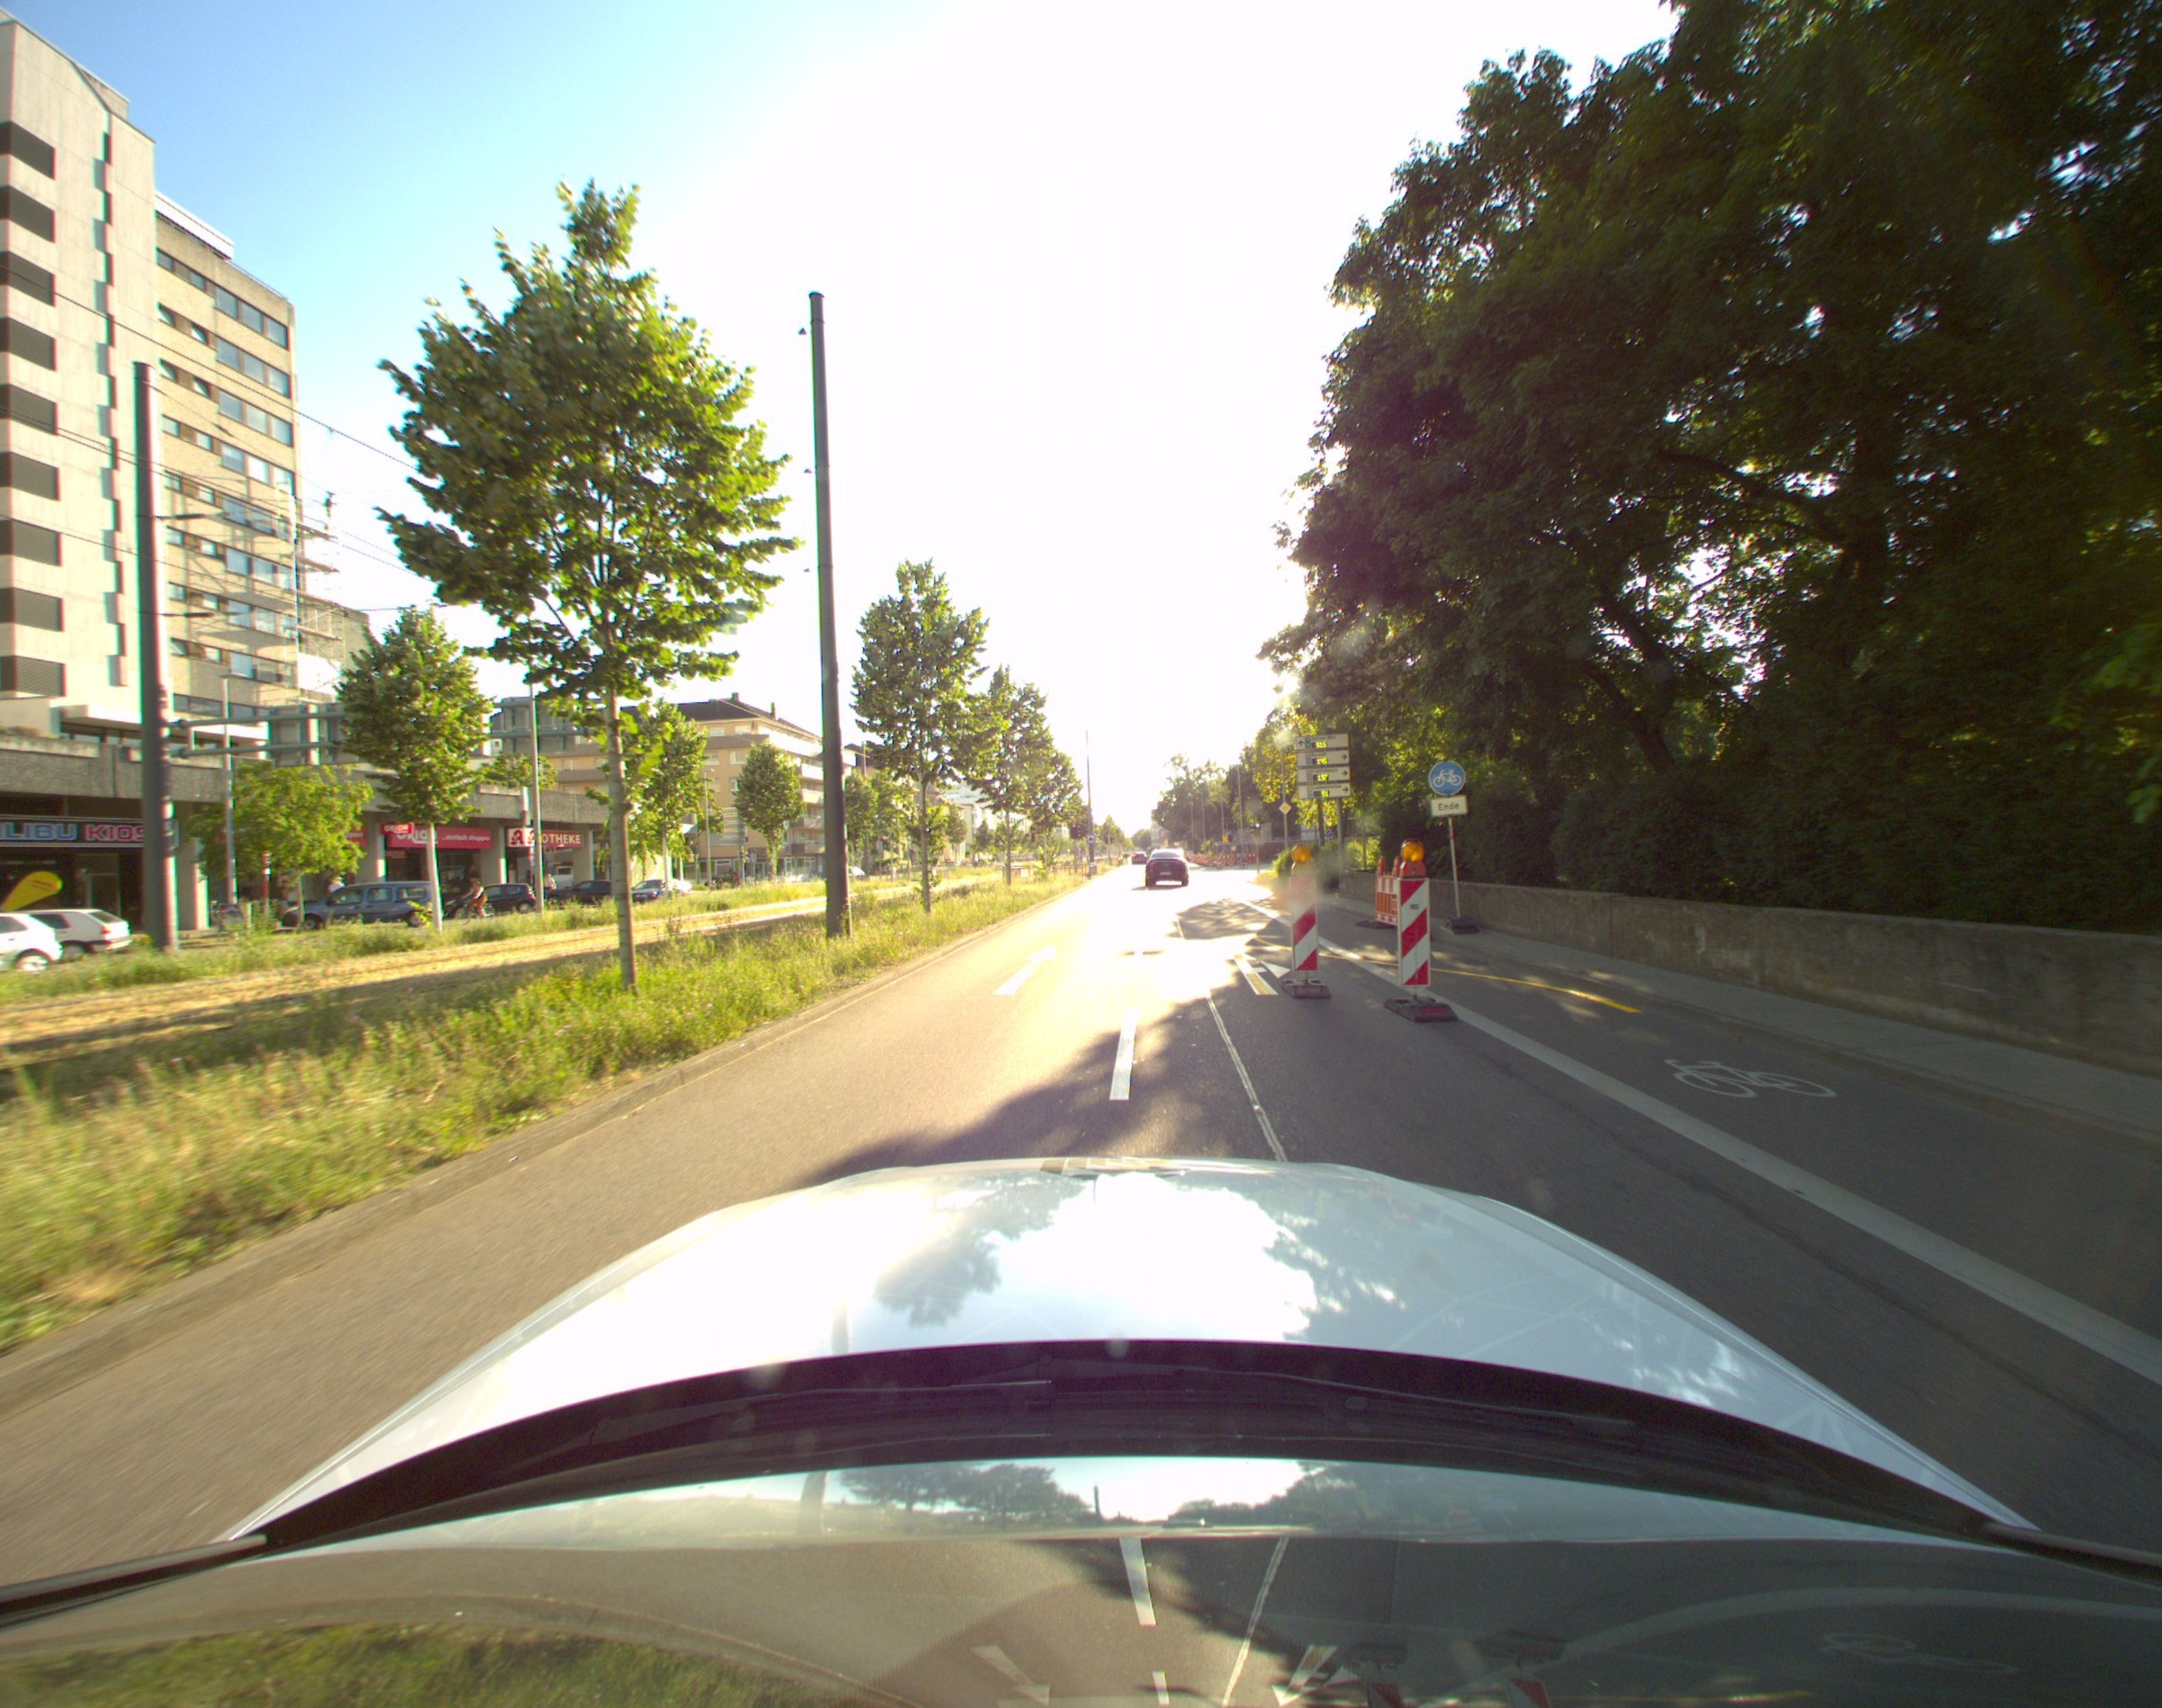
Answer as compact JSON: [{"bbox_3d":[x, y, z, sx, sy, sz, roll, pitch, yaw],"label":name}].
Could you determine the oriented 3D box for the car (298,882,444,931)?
[{"bbox_3d":[-27.798,2.018,32.086,4.215,1.690,1.603,0,-1,-36],"label":"car"}]

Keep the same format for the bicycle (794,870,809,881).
[{"bbox_3d":[-31.235,2.391,91.135,0.528,1.137,2.589,-2,0,5],"label":"bicycle"}]

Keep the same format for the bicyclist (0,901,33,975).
[{"bbox_3d":[-24.918,1.952,18.670,0.535,1.656,0.920,-3,0,3],"label":"bicyclist"}]

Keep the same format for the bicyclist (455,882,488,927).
[{"bbox_3d":[-24.685,2.035,32.975,0.555,1.745,0.920,-3,0,3],"label":"bicyclist"}]

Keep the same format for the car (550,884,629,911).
[{"bbox_3d":[-26.394,2.298,43.763,3.483,1.274,1.602,0,-1,-39],"label":"car"}]

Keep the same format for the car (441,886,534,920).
[{"bbox_3d":[-27.972,2.295,38.419,3.483,1.402,1.602,0,-1,-39],"label":"car"}]

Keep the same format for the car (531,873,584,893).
[{"bbox_3d":[-51.493,2.830,80.147,3.968,1.743,2.003,-2,0,4],"label":"car"}]

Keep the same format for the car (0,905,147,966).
[{"bbox_3d":[-28.606,2.228,22.258,3.811,1.444,1.602,0,-1,-39],"label":"car"}]

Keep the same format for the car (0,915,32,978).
[{"bbox_3d":[-28.354,2.314,19.398,3.821,1.444,1.768,0,-1,-41],"label":"car"}]

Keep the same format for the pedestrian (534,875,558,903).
[{"bbox_3d":[-31.968,2.088,48.668,0.771,1.639,0.883,-2,0,4],"label":"pedestrian"}]

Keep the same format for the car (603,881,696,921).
[{"bbox_3d":[-20.971,2.244,39.829,1.861,1.702,4.494,0,-1,5],"label":"car"}]

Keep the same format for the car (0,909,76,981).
[{"bbox_3d":[-22.782,1.882,15.782,1.601,1.378,3.885,0,-1,5],"label":"car"}]

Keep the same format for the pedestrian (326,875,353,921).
[{"bbox_3d":[-33.582,1.994,36.883,0.545,2.013,0.655,-2,0,4],"label":"pedestrian"}]

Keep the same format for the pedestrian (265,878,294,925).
[{"bbox_3d":[-34.941,2.062,35.518,0.545,2.013,0.655,-2,0,4],"label":"pedestrian"}]

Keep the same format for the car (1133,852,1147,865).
[{"bbox_3d":[7.743,0.627,107.230,1.818,1.659,4.005,0,-1,5],"label":"car"}]

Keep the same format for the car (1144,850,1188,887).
[{"bbox_3d":[4.024,0.675,38.898,1.996,1.659,4.005,0,-1,5],"label":"car"}]

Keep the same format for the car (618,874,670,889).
[{"bbox_3d":[-43.016,2.726,80.211,3.968,1.303,2.003,-2,0,4],"label":"car"}]

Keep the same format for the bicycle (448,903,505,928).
[{"bbox_3d":[-24.662,2.491,33.279,0.433,0.862,2.109,-3,0,11],"label":"bicycle"}]

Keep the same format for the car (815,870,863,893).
[{"bbox_3d":[-18.032,2.034,60.863,1.861,1.588,4.645,0,-1,5],"label":"car"}]

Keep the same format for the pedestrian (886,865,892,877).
[{"bbox_3d":[-25.202,2.210,106.859,0.442,1.555,0.524,-3,-1,33],"label":"pedestrian"}]
